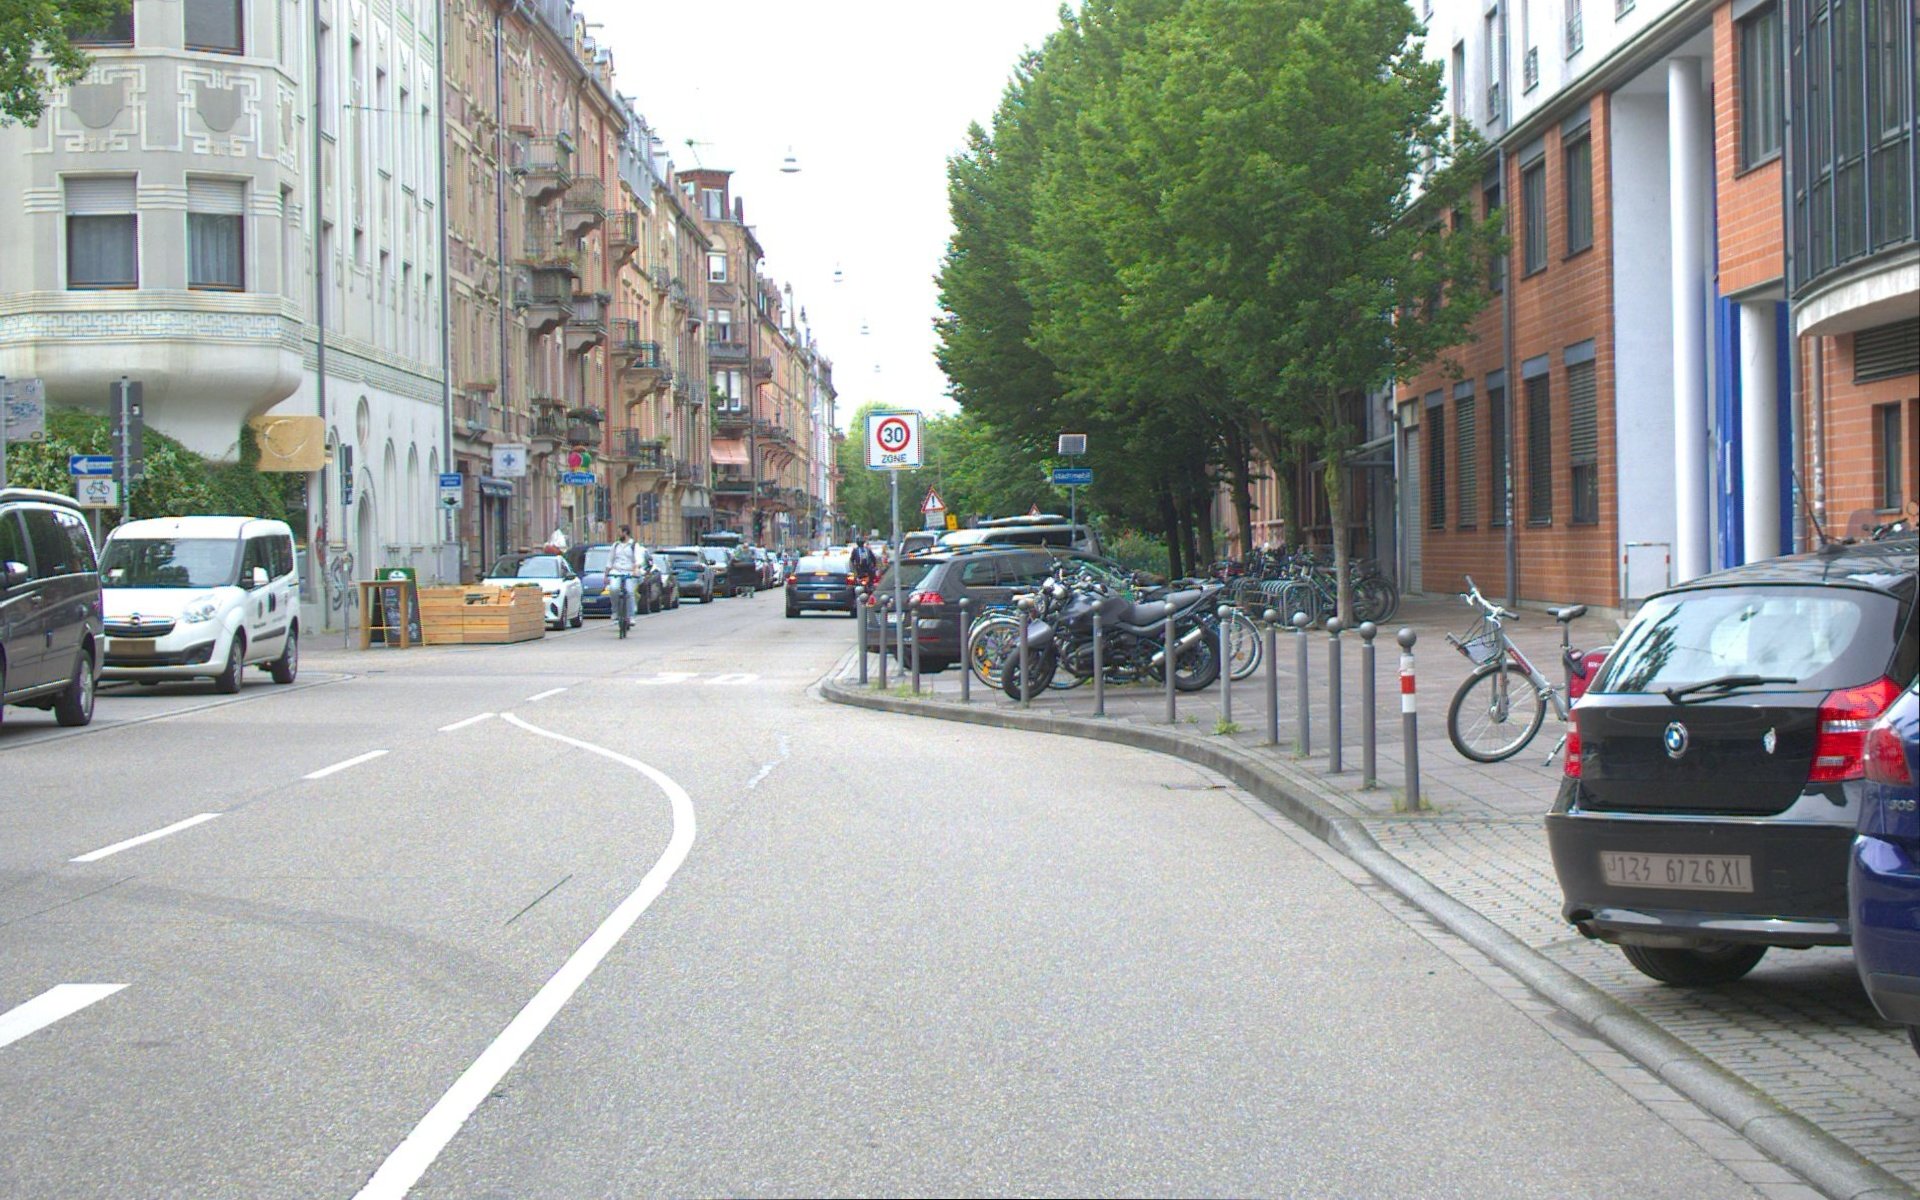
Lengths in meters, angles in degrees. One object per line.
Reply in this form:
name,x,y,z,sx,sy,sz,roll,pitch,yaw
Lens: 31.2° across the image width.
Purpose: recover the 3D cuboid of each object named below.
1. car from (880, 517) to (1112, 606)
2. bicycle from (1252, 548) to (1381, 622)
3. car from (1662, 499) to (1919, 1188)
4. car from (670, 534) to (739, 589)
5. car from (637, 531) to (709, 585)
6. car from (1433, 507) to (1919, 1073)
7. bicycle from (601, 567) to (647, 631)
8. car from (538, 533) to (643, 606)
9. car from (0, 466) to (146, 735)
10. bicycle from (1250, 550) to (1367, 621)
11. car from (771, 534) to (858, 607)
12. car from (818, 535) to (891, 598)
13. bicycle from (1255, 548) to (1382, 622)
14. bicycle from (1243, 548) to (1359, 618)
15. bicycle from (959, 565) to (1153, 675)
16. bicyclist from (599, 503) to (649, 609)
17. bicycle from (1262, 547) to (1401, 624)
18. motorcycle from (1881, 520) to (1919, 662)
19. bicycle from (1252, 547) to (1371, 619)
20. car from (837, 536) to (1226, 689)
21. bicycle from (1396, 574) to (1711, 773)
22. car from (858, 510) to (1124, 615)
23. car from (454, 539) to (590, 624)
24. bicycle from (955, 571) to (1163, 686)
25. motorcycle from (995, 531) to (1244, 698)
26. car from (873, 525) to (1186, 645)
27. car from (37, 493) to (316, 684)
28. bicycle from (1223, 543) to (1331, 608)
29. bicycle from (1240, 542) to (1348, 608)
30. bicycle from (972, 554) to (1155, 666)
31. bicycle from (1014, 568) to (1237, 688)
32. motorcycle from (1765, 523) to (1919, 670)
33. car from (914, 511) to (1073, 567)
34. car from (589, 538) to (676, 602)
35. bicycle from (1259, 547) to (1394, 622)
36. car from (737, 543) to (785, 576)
car,0.892,-0.928,82.857,5.387,1.985,1.950,-2,1,-34
bicycle,5.281,-0.217,50.972,1.836,1.088,0.543,0,0,0
car,3.965,0.428,8.551,3.987,1.528,1.932,-5,3,-29
car,-8.254,-1.234,111.229,1.944,1.736,3.943,0,1,0
car,-8.863,-1.287,106.376,1.944,1.611,3.943,0,1,-1
car,3.833,0.415,11.133,4.246,1.473,1.685,-4,2,-24
bicycle,-5.895,-0.021,60.319,0.567,1.084,1.986,0,1,1
car,-8.317,-0.689,77.668,1.944,1.611,3.943,0,1,0
car,-8.194,-0.031,27.850,2.013,2.007,5.183,0,1,-1
bicycle,5.385,-0.222,53.180,1.752,1.088,0.565,0,0,0
car,-3.419,-0.669,81.451,1.993,1.675,4.000,0,0,-1
car,-2.915,-0.921,95.299,1.993,1.675,4.000,0,0,-1
bicycle,5.394,-0.223,51.767,1.836,1.088,0.565,0,0,0
bicycle,5.325,-0.261,53.786,1.752,1.088,0.565,0,0,0
bicycle,0.964,0.202,34.799,1.883,1.040,0.612,-2,0,-3
bicyclist,-5.923,-0.783,60.677,0.782,1.860,0.714,0,1,2
bicycle,5.352,-0.208,49.556,1.933,1.088,0.577,0,0,0
motorcycle,8.015,-0.079,27.681,0.601,1.140,2.070,-2,1,0
bicycle,5.356,-0.252,52.397,1.752,1.088,0.565,0,0,0
car,0.879,0.131,41.130,4.274,1.573,1.863,-3,1,-33
bicycle,3.502,0.427,20.397,0.728,1.100,1.736,-3,1,-41
car,0.706,-0.826,74.759,5.607,2.120,1.950,-2,1,-34
car,-8.413,-0.371,66.328,1.944,1.548,3.817,-2,1,2
bicycle,0.943,0.271,33.164,1.929,1.040,0.612,-2,0,-3
motorcycle,1.426,0.134,31.040,2.133,1.425,0.771,-2,0,-3
car,1.008,-0.218,49.359,4.047,1.579,1.903,-2,0,-31
car,-8.348,-0.161,37.008,1.843,1.933,4.548,0,1,2
bicycle,5.346,-0.410,58.016,1.752,1.088,0.565,0,0,0
bicycle,5.568,-0.414,57.354,1.752,1.088,0.565,0,0,0
bicycle,1.108,0.107,36.894,1.883,1.137,0.612,-2,0,-3
bicycle,1.551,0.258,32.378,2.009,1.059,0.612,-2,0,-3
motorcycle,7.822,-0.053,29.970,1.028,1.198,2.209,-2,1,-1
car,1.218,-2.179,122.745,5.386,1.861,1.950,-2,1,-30
car,-8.532,-0.789,89.795,1.944,1.611,3.943,0,1,-1
bicycle,5.343,-0.226,50.163,1.895,1.088,0.543,0,0,0
car,-8.334,-1.668,143.770,1.993,1.317,4.000,0,0,-4
